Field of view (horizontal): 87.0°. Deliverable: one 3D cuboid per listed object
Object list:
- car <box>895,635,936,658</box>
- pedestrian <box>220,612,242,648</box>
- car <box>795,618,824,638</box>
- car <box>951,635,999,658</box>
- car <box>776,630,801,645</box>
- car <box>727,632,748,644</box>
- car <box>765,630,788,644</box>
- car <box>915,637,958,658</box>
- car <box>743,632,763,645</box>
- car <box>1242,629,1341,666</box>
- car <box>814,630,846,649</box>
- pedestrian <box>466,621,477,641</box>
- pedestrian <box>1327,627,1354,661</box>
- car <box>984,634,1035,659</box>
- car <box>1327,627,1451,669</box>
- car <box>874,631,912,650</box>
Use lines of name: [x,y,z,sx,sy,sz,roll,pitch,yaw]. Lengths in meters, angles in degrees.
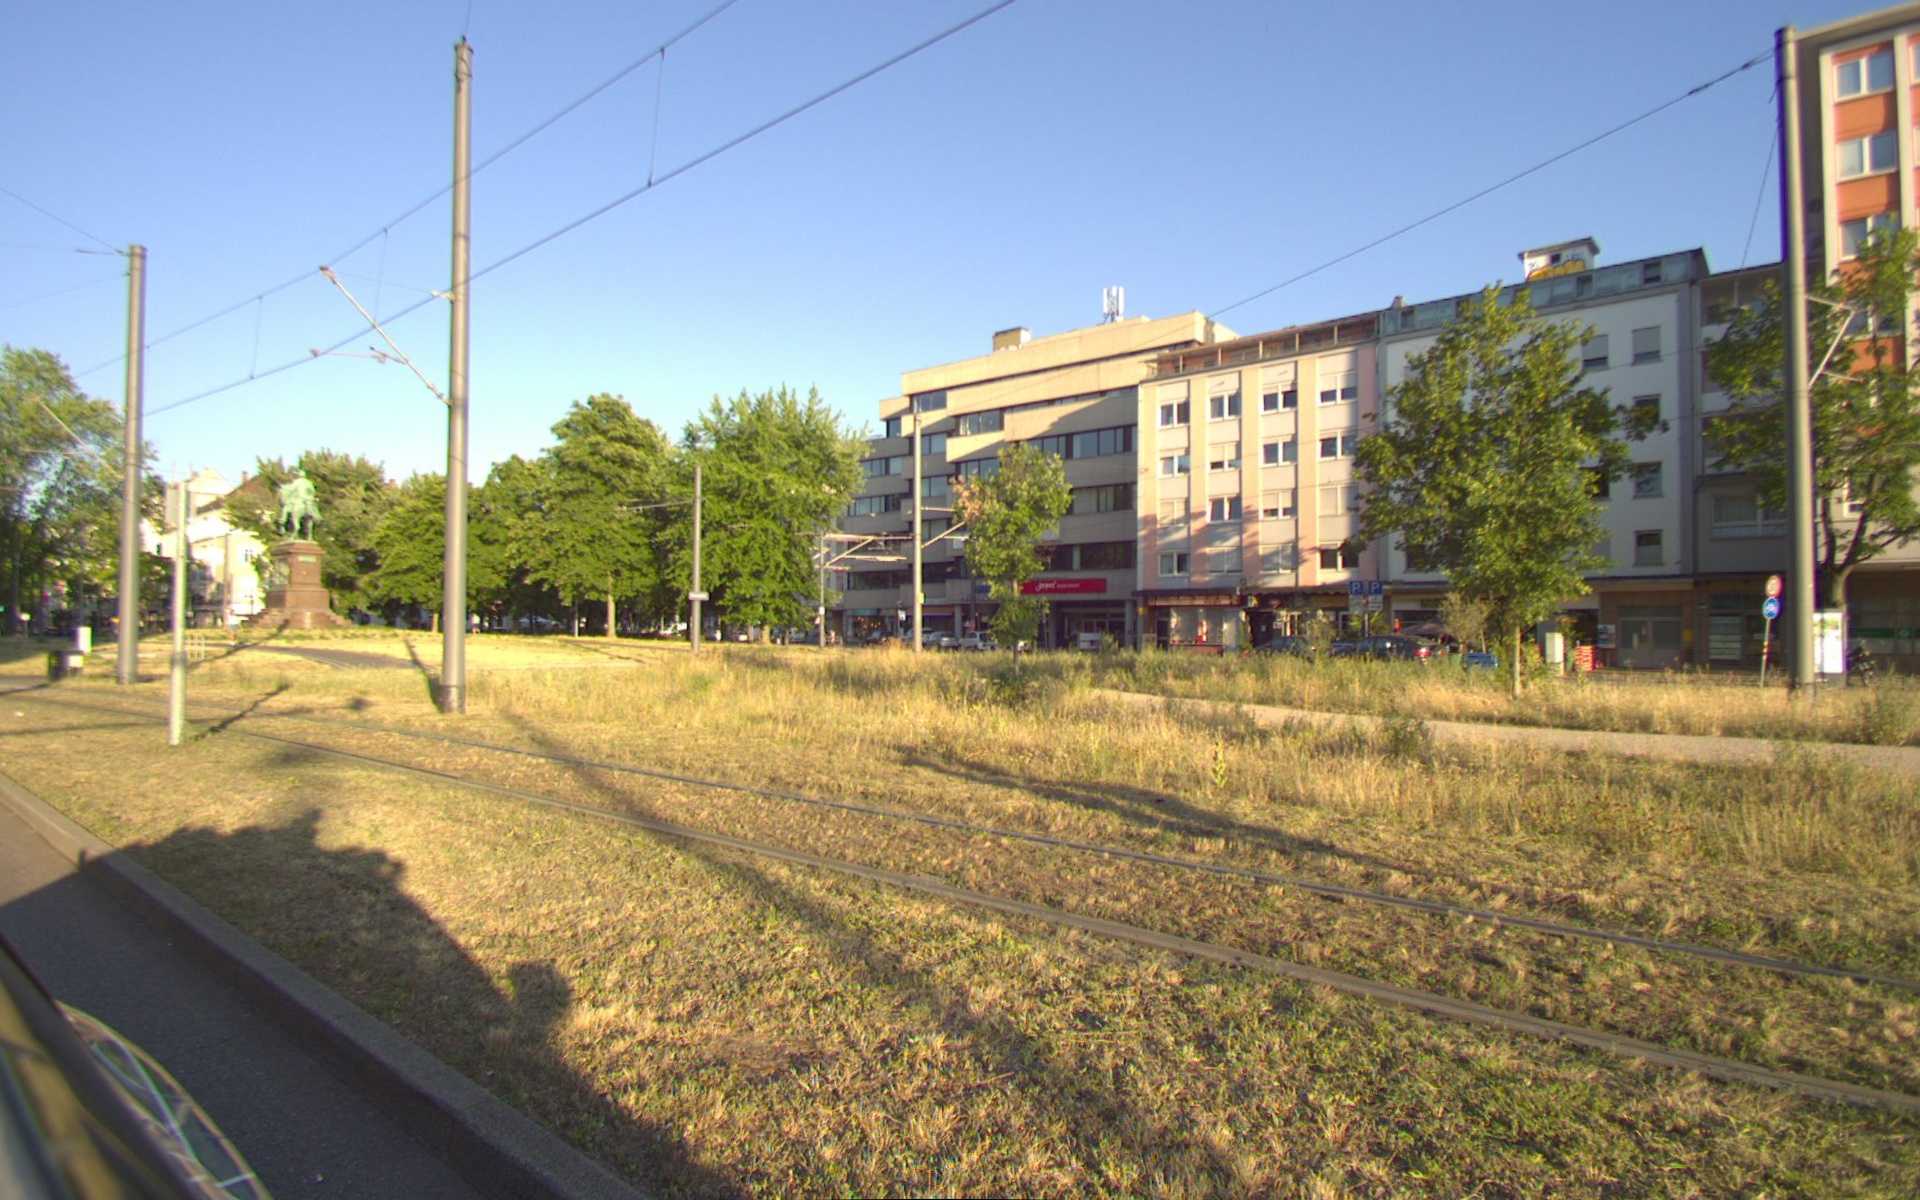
car: [-3.633,3.789,82.203,1.729,1.808,4.222,1,-3,-27]
pedestrian: [-34.730,1.452,48.203,0.831,1.703,0.472,-1,-3,26]
car: [-16.065,2.988,107.790,1.729,1.959,4.222,1,-3,-27]
car: [1.038,3.327,71.598,1.729,1.564,4.012,1,-3,-27]
car: [-19.476,4.293,115.006,1.729,1.676,4.012,1,-3,-27]
car: [-27.794,4.777,126.261,1.681,1.401,4.013,1,-3,-25]
car: [-21.765,4.349,119.996,1.766,1.592,4.013,0,-3,-23]
car: [-1.799,3.630,76.979,1.729,1.564,4.012,1,-3,-27]
car: [-26.917,5.000,131.334,1.766,1.592,4.013,0,-3,-23]
car: [14.436,2.100,44.243,1.729,1.538,4.012,1,-3,-27]
car: [-13.129,3.962,101.765,1.906,1.808,4.222,1,-3,-27]
pedestrian: [-39.812,2.558,82.439,0.553,1.593,0.611,-3,-4,42]
pedestrian: [17.597,2.044,46.761,0.852,1.540,1.107,-3,-4,38]
car: [3.227,3.066,66.901,1.729,1.564,4.013,0,-3,-24]
car: [16.641,1.893,39.511,1.729,1.538,4.305,1,-3,-27]
car: [-5.830,3.567,87.933,1.833,1.569,4.081,1,-3,-27]
